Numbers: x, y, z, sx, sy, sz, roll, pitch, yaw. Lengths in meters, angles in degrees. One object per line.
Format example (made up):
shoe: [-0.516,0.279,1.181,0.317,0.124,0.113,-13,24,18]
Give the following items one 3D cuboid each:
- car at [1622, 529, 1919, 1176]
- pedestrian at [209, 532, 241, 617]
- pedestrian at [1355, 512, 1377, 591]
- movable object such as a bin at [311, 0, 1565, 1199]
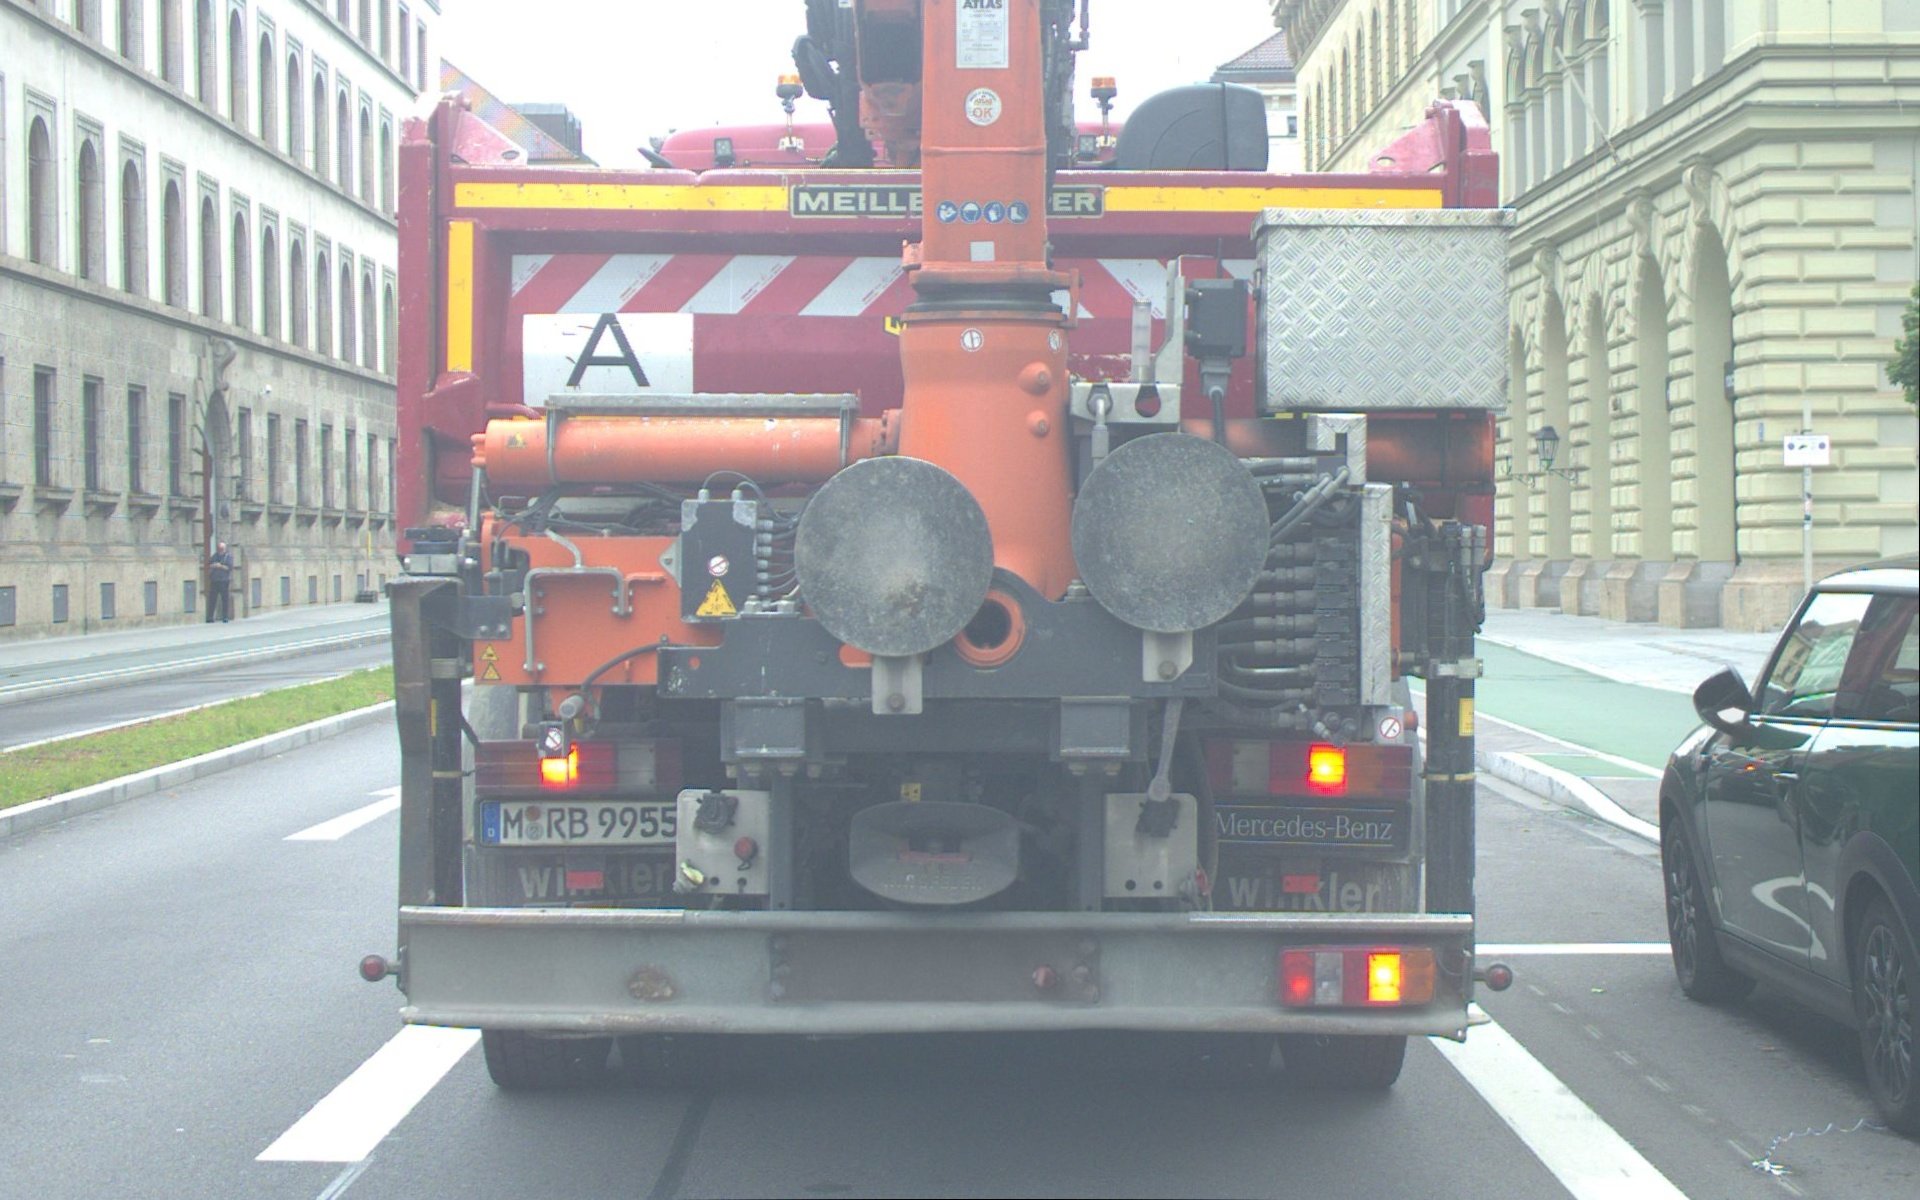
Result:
car: [3.016,0.549,9.713,1.610,1.490,3.424,-1,1,0]
pedestrian: [-15.781,-0.549,73.832,0.588,1.825,0.499,0,1,-1]
pedestrian: [9.432,-1.133,79.910,0.445,1.830,0.556,-1,1,1]
movable object such as a bin: [-0.089,-0.484,9.584,2.423,3.599,5.852,0,1,-1]
